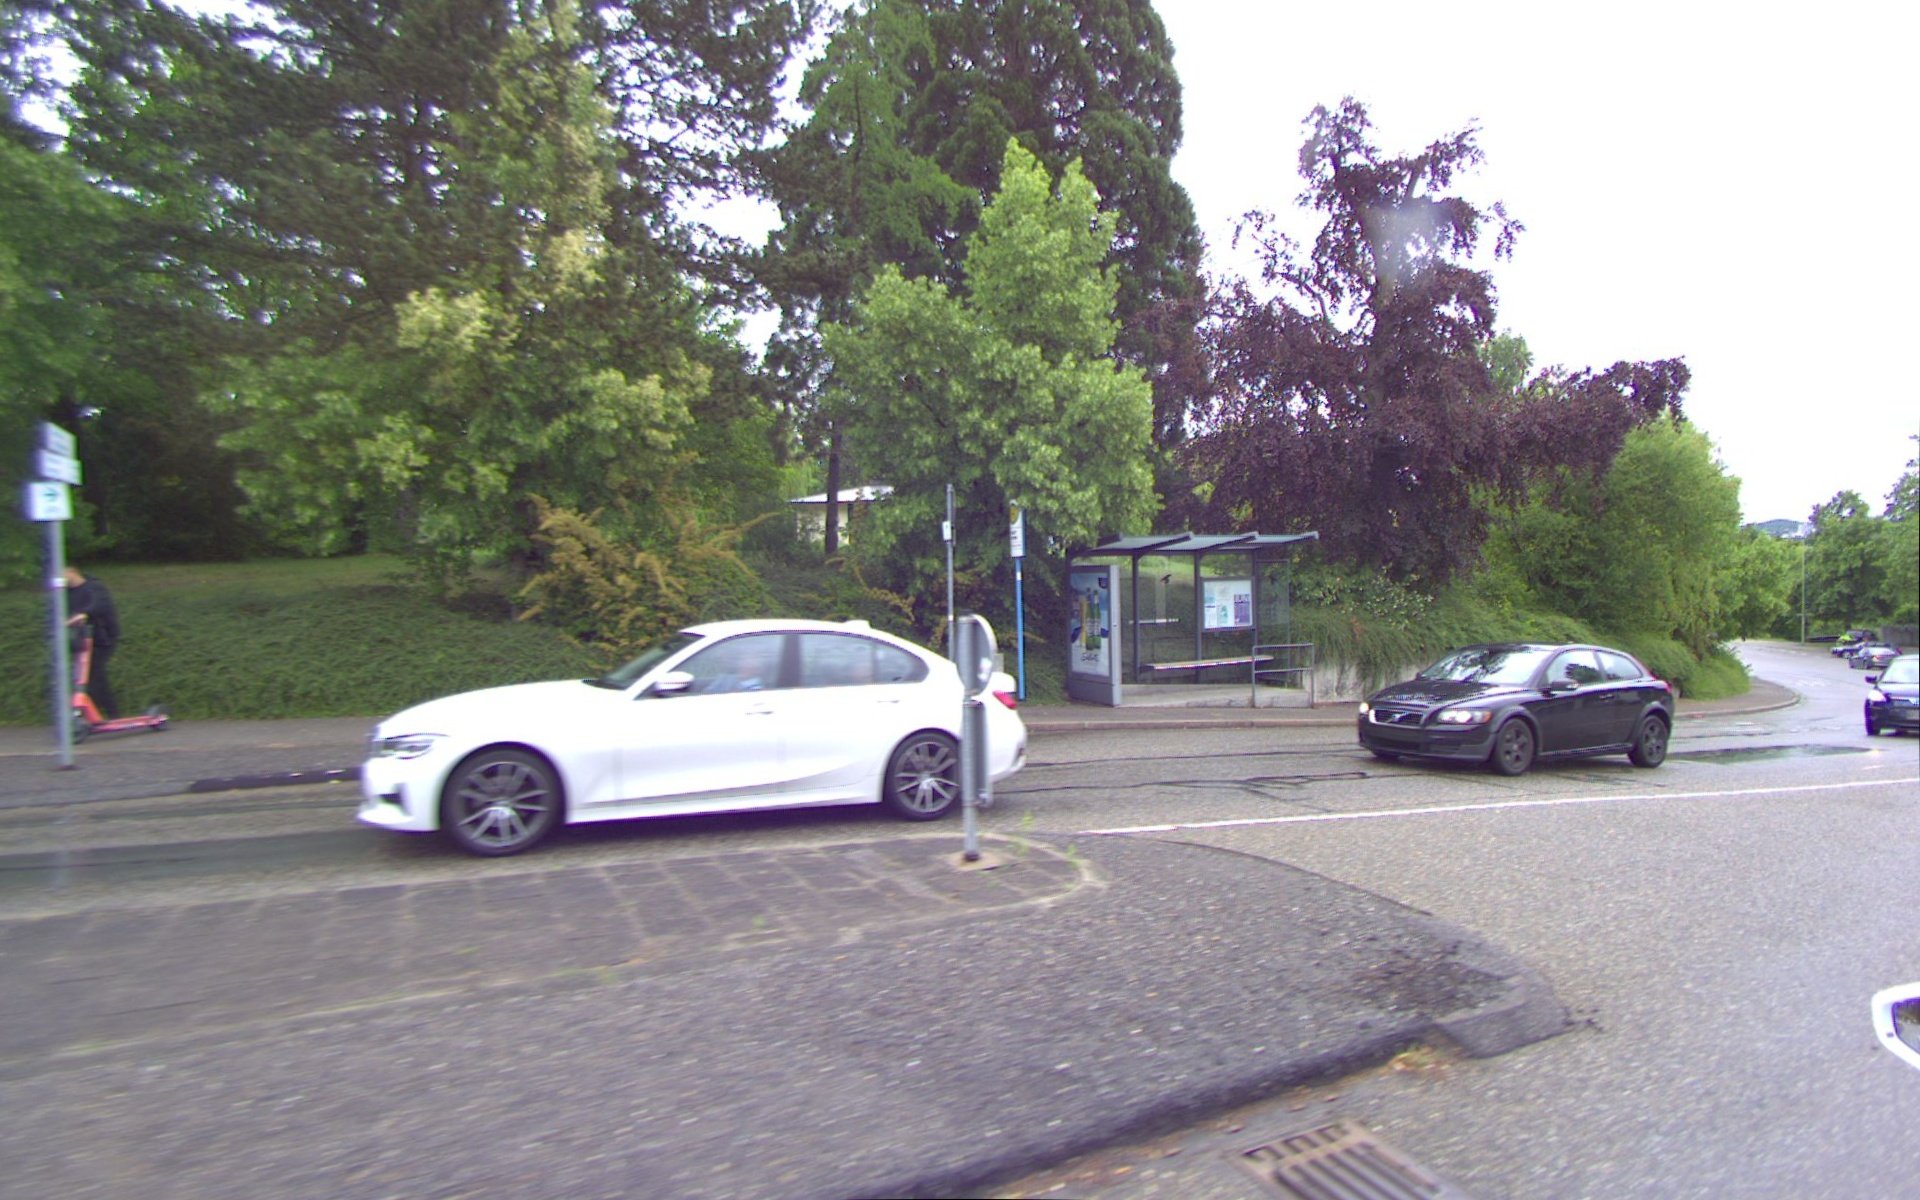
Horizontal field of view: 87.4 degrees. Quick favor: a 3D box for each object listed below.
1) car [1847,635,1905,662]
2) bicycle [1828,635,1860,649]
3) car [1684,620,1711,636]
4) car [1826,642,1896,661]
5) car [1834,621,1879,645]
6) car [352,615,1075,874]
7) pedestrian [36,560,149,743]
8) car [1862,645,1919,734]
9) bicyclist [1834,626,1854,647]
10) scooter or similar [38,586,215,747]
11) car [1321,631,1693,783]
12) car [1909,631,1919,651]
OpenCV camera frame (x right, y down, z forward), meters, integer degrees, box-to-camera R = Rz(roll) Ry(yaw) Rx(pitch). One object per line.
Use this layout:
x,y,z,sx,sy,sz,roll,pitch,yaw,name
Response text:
58.157,3.056,63.840,1.696,1.483,3.993,4,2,29,car
75.647,3.606,85.970,0.849,1.170,2.010,2,-2,-45,bicycle
78.156,2.947,106.515,1.696,1.483,3.993,4,2,29,car
72.794,4.178,81.187,4.075,1.402,1.720,0,-2,38,car
80.655,2.951,90.335,4.854,1.712,1.934,-3,3,-35,car
-1.637,0.856,7.459,4.759,1.420,1.821,1,-1,-27,car
-9.072,0.520,10.535,0.817,1.831,0.698,1,-1,-36,pedestrian
18.777,1.675,19.267,4.343,1.483,1.706,1,-1,-41,car
75.649,3.152,85.984,1.268,1.779,0.849,0,-1,45,bicyclist
-8.535,0.648,10.341,0.501,1.536,1.318,0,-1,21,scooter or similar
6.449,1.124,11.743,4.349,1.466,1.783,1,-1,-29,car
83.335,3.463,85.835,4.504,1.490,1.745,-2,3,-26,car
